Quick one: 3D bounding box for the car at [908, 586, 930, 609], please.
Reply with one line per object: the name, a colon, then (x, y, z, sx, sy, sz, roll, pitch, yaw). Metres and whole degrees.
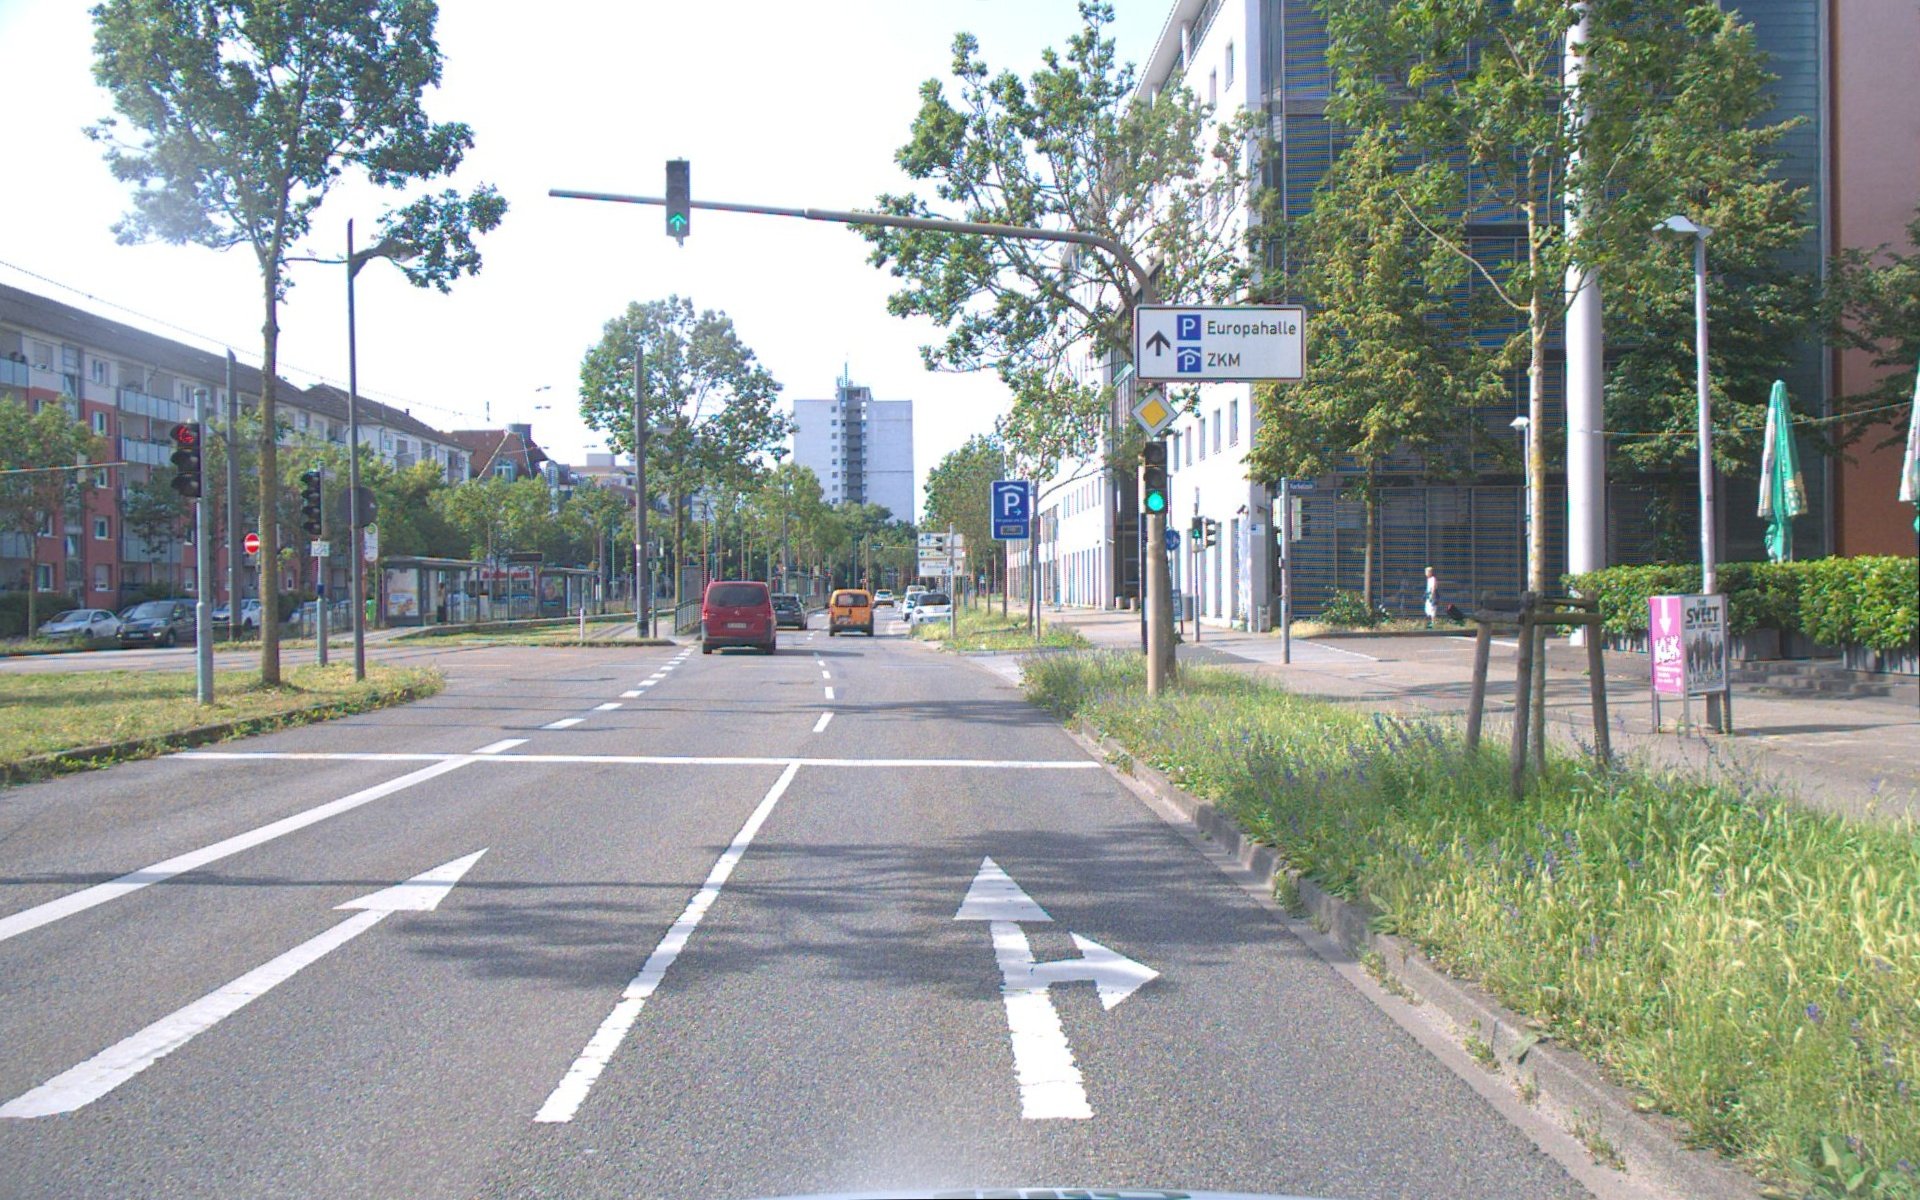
car: (-3.793, -0.220, 152.732, 1.953, 2.049, 3.999, -1, 0, -2)

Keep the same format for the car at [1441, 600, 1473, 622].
car: (13.892, 0.313, 46.245, 0.750, 0.598, 0.498, -1, 0, -3)

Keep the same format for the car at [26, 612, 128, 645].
car: (-33.597, 1.067, 63.055, 1.796, 1.168, 4.163, 1, 0, -3)

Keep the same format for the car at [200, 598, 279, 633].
car: (-34.305, 0.708, 78.903, 1.941, 1.583, 4.535, 1, 0, -3)

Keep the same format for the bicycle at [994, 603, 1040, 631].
bicycle: (1.686, 0.500, 48.671, 1.245, 0.643, 0.521, -7, -1, 5)

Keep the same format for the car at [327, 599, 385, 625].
car: (-34.253, 0.662, 93.882, 1.941, 1.384, 4.067, 1, 0, -3)

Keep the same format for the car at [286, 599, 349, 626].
car: (-34.415, 0.676, 88.664, 1.941, 1.384, 4.067, 1, 0, -3)

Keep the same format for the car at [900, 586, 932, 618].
car: (-2.361, 0.092, 88.785, 1.655, 1.552, 3.849, -3, 0, -2)

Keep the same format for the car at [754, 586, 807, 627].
car: (-7.716, 0.266, 71.452, 1.953, 1.736, 3.999, -1, 0, -2)

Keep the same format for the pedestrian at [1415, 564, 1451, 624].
pedestrian: (13.141, -0.177, 45.959, 0.762, 1.644, 0.713, -1, 0, -3)

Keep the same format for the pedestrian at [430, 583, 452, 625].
pedestrian: (-21.243, 0.166, 67.720, 0.658, 1.682, 0.793, -1, 0, -6)

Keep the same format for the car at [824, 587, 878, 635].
car: (-4.042, 0.390, 61.951, 1.837, 1.726, 3.972, -1, 0, -1)

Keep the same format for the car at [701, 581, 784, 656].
car: (-5.719, 0.448, 43.935, 1.837, 1.886, 3.998, -1, 0, -3)

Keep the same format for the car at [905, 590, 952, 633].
car: (-1.234, 0.410, 62.798, 1.686, 1.545, 3.779, -1, 0, -3)

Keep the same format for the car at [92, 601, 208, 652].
car: (-29.478, 0.930, 60.360, 1.953, 1.736, 4.712, -1, 0, -1)

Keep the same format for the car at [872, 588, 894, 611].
car: (-7.073, -0.077, 151.432, 1.954, 2.049, 3.998, -1, 0, -3)
